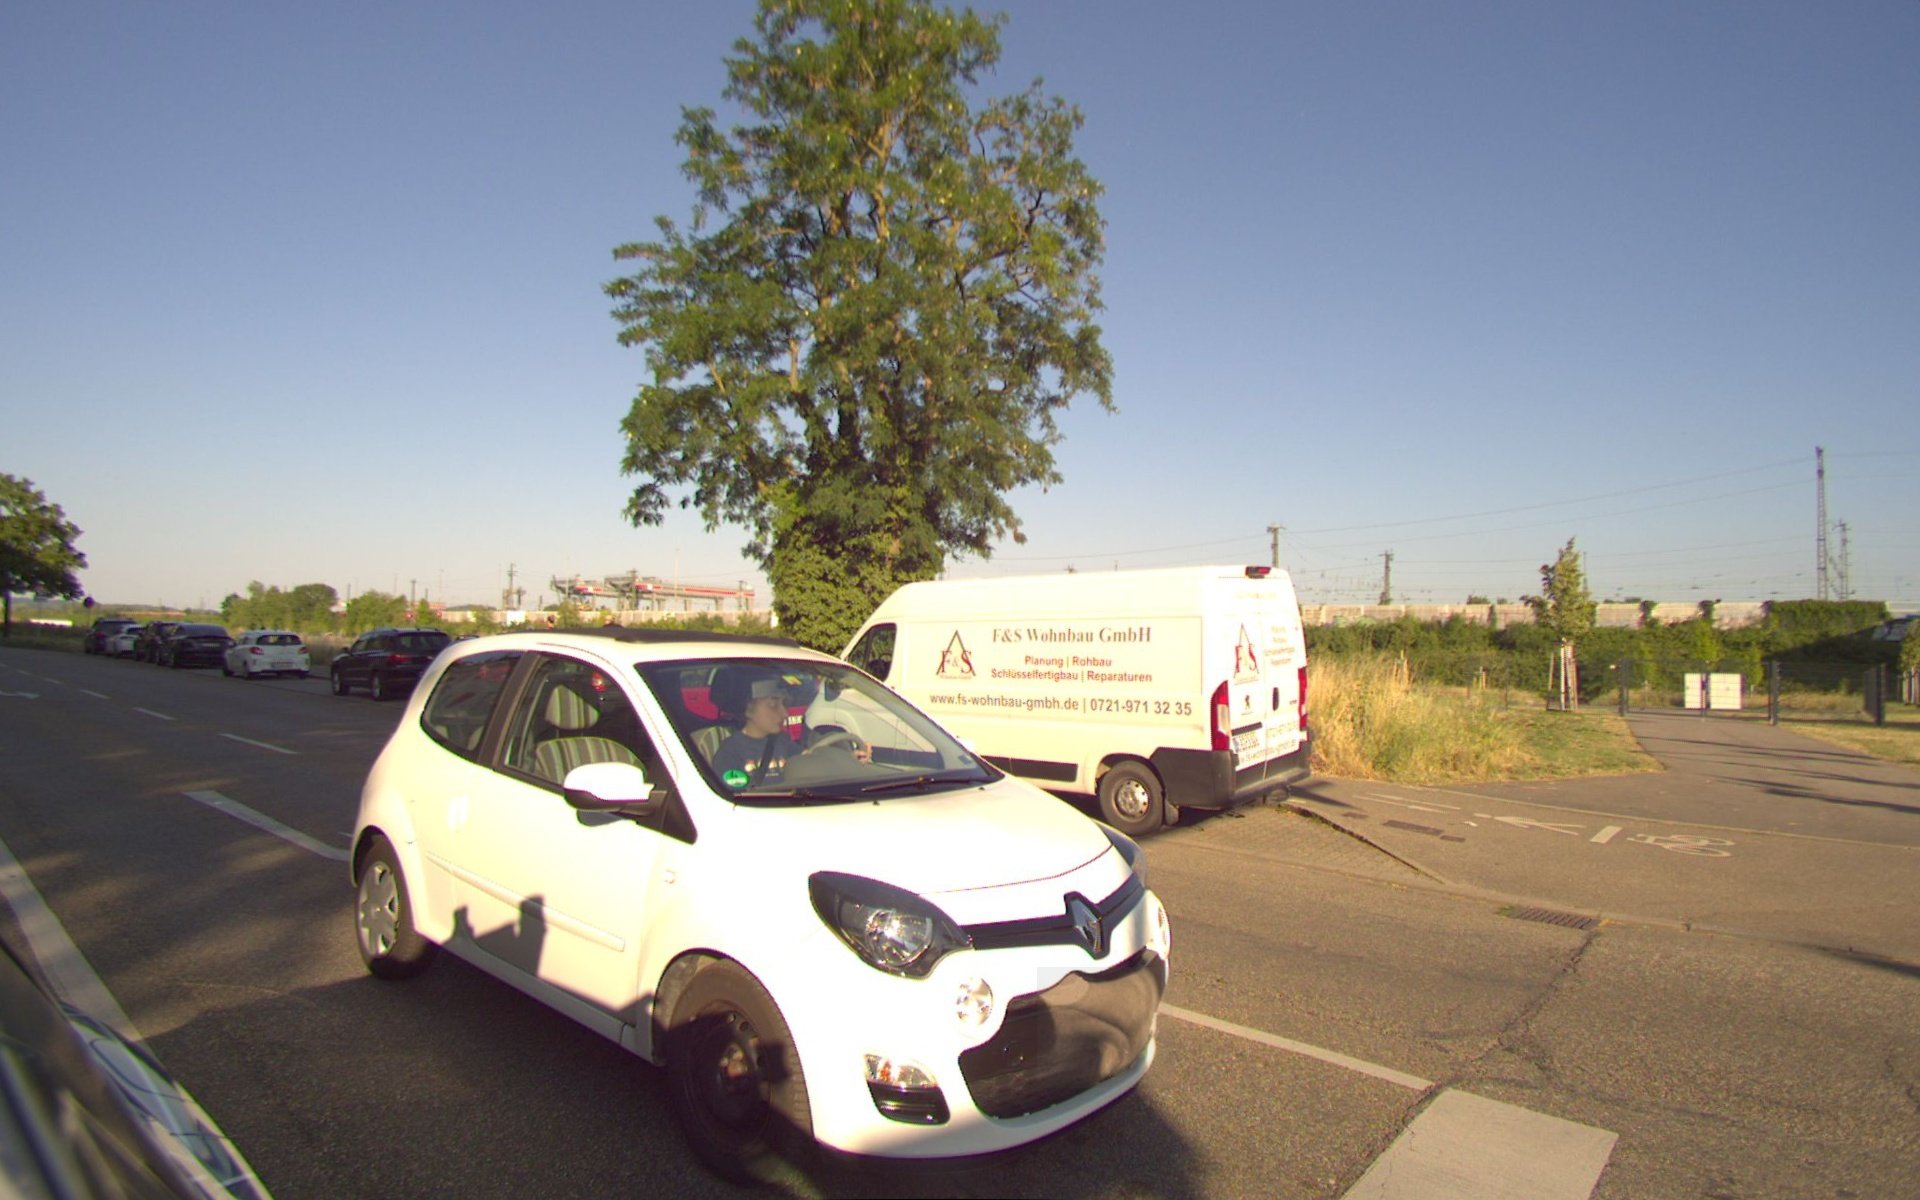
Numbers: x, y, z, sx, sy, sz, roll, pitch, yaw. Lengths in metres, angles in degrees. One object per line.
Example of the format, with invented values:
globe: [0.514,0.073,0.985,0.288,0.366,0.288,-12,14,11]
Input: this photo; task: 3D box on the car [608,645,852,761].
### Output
car: [-3.557,1.478,15.393,3.692,1.498,1.723,-1,-4,40]

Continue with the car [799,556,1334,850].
car: [0.920,0.898,11.080,5.556,2.455,2.207,-1,-1,40]

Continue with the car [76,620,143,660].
car: [-40.849,1.903,48.604,4.219,1.789,1.866,-1,-4,43]

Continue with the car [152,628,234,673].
car: [-28.243,1.822,37.224,1.798,1.538,4.292,5,-4,-45]

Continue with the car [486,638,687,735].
car: [-6.807,1.500,18.315,3.814,1.541,1.723,-1,-4,40]

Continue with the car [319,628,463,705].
car: [-13.606,1.531,24.112,4.003,1.672,1.642,-1,-4,40]

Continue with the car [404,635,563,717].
car: [-10.023,1.551,21.194,3.577,1.541,1.642,-1,-4,40]

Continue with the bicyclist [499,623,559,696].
bicyclist: [-9.819,1.354,23.050,1.145,1.609,0.758,-1,-4,41]

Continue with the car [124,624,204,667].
car: [-32.392,1.819,41.146,4.219,1.650,1.799,-1,-4,43]

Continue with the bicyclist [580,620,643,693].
bicyclist: [-7.977,1.283,23.180,1.145,1.609,0.855,-1,-4,42]

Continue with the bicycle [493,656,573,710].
bicycle: [-9.652,1.850,22.830,2.162,1.098,0.739,-1,-4,41]

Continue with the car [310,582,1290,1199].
car: [-0.877,0.777,3.939,3.772,1.480,1.683,-1,-4,40]

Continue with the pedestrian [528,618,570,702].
pedestrian: [-10.190,1.480,25.089,0.729,2.029,0.608,-1,-4,39]

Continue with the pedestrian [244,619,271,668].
pedestrian: [-29.516,1.832,42.530,0.710,2.029,0.697,-1,-4,42]

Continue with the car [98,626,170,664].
car: [-36.479,1.959,44.656,4.219,1.586,1.799,-1,-4,43]

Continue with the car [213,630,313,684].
car: [-21.567,1.737,31.288,3.582,1.538,1.684,-1,-4,42]
